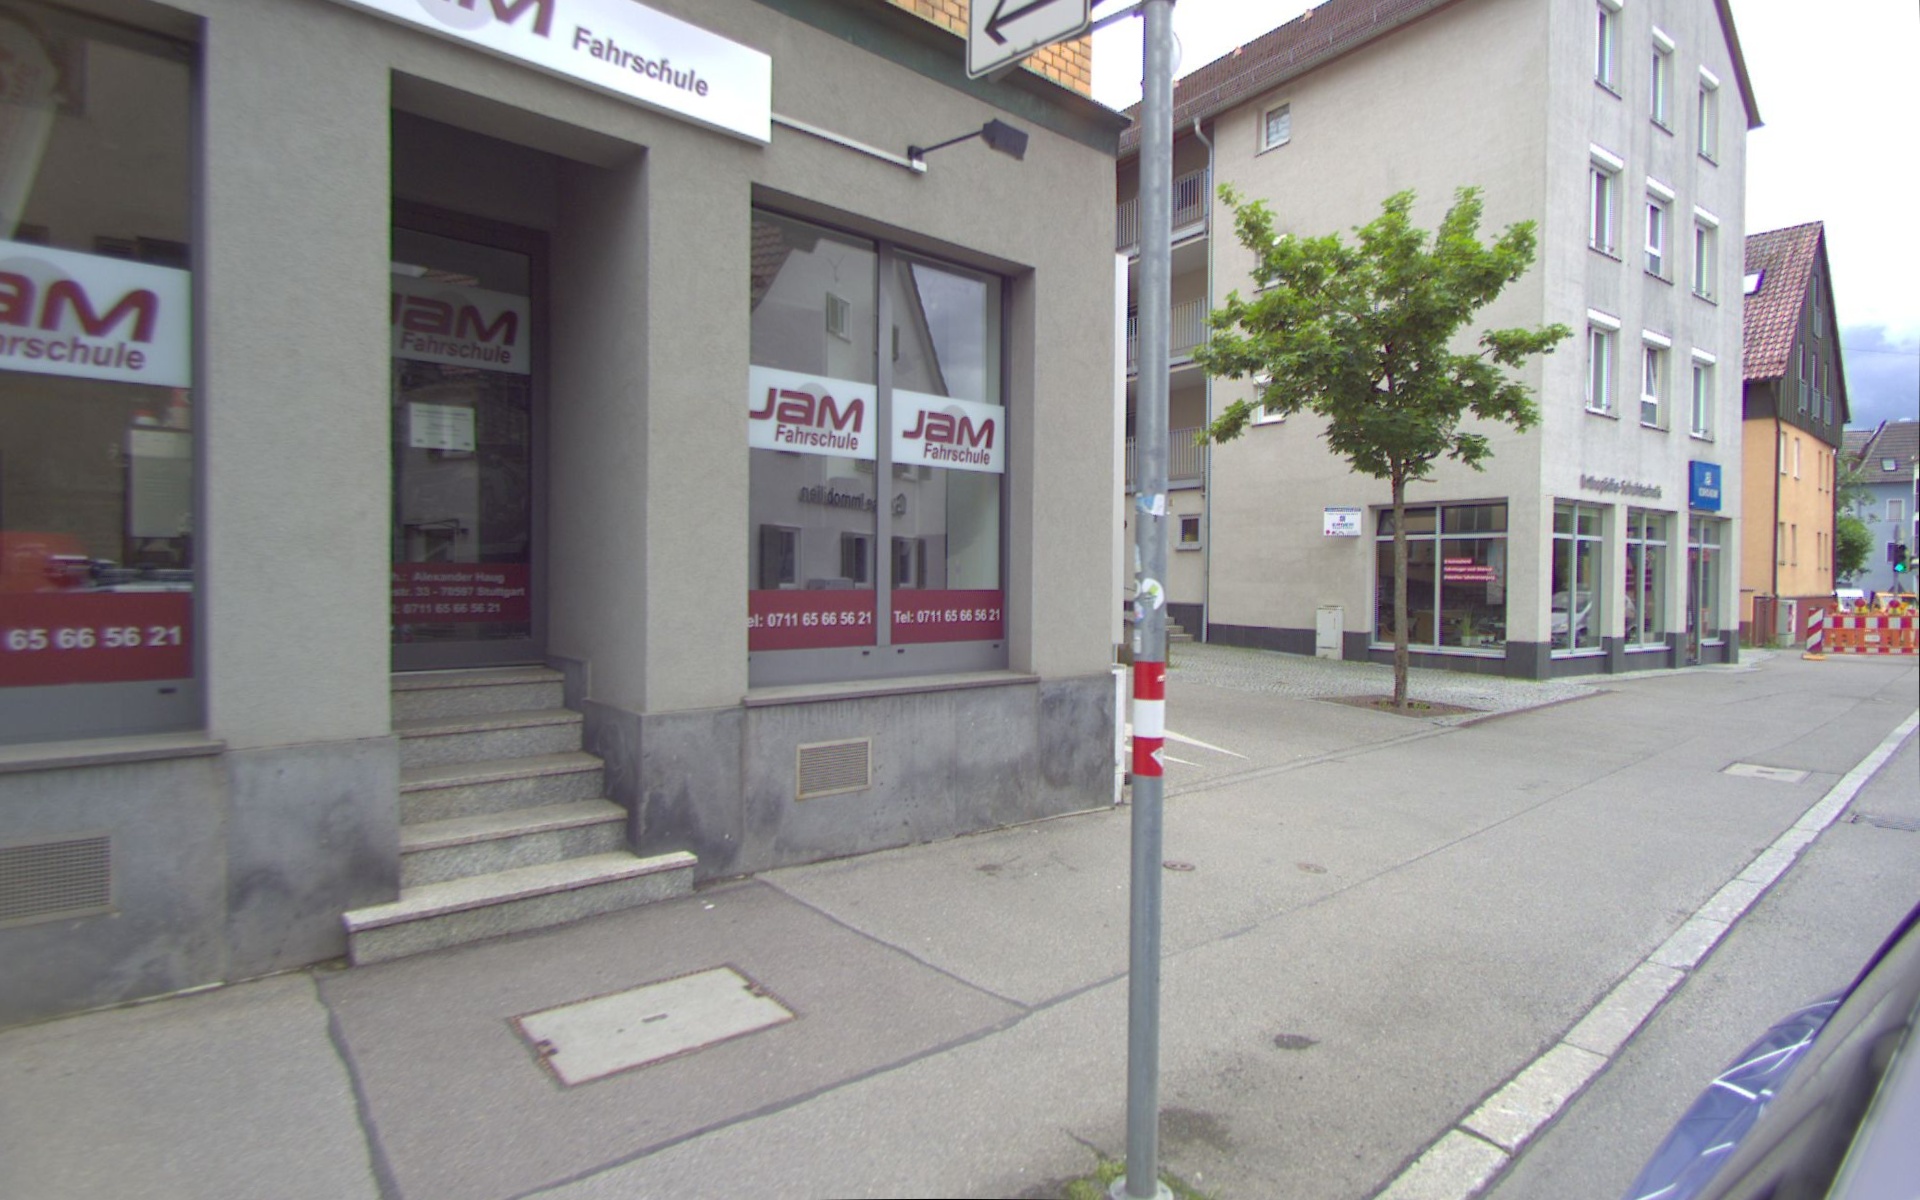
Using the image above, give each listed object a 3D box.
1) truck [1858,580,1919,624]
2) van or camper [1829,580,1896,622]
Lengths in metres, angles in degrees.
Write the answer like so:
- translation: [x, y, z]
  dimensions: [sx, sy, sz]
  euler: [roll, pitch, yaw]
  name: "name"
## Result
- translation: [56.190, 0.154, 60.352]
  dimensions: [2.399, 2.497, 6.245]
  euler: [2, 1, 28]
  name: "truck"
- translation: [60.456, 0.079, 67.910]
  dimensions: [2.310, 2.640, 6.134]
  euler: [2, 0, 32]
  name: "van or camper"
